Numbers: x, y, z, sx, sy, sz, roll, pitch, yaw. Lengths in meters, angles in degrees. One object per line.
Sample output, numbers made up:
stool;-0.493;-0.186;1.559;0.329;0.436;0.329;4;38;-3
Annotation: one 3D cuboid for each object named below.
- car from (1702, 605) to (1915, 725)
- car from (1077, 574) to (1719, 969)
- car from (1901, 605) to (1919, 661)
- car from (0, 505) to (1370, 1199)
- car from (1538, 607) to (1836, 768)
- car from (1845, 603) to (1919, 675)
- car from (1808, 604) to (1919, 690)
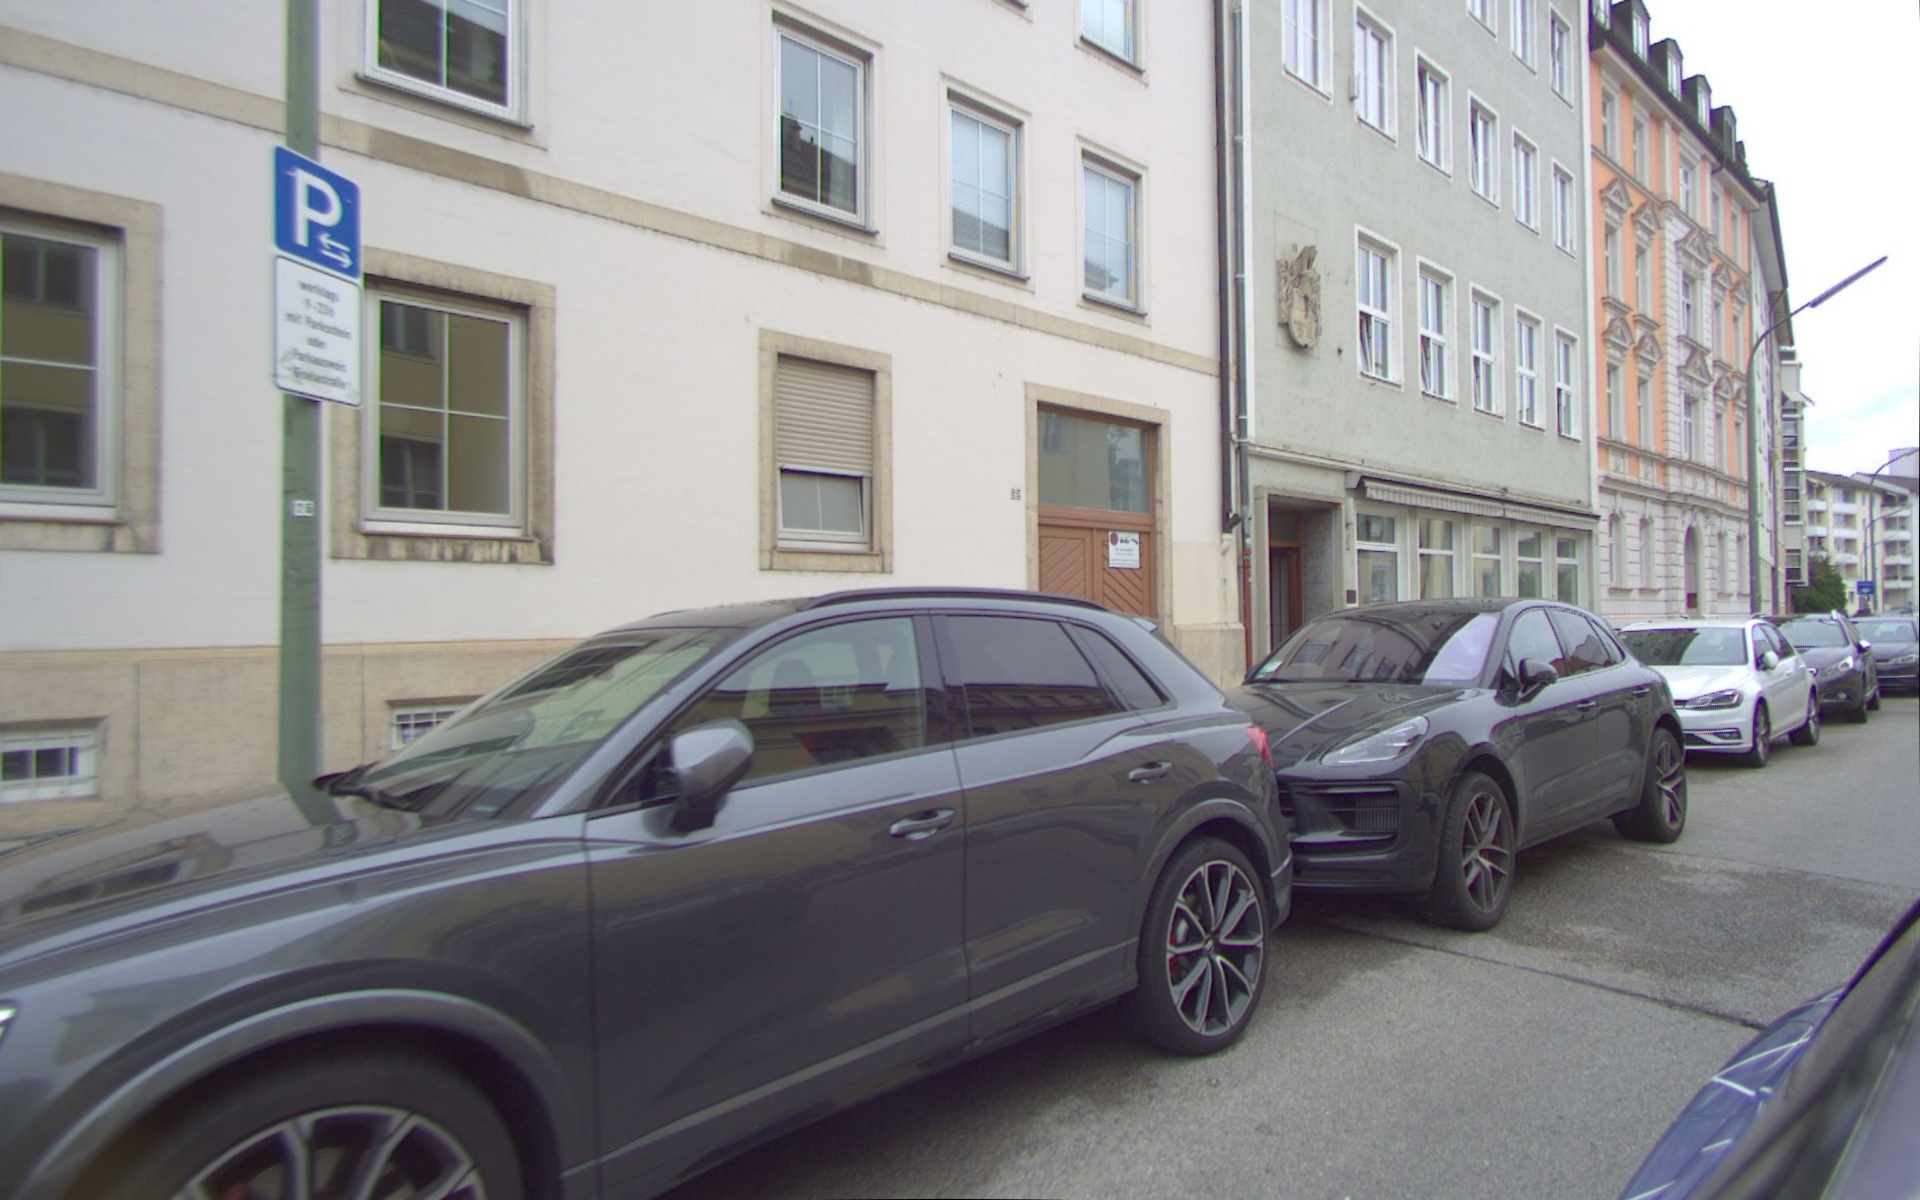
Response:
car;12.761;0.896;15.146;3.930;1.560;1.766;0;-4;-41
car;2.921;0.730;6.255;4.411;1.602;1.830;0;-2;-40
car;29.687;0.929;30.074;4.412;1.593;1.998;0;-3;-41
car;-0.689;0.698;3.205;4.411;1.602;1.830;0;-2;-40
car;8.106;0.822;11.145;4.108;1.448;1.743;0;-2;-41
car;22.678;0.878;23.890;4.411;1.593;1.999;0;-3;-40
car;17.797;0.849;19.301;4.117;1.485;1.723;0;-3;-40
